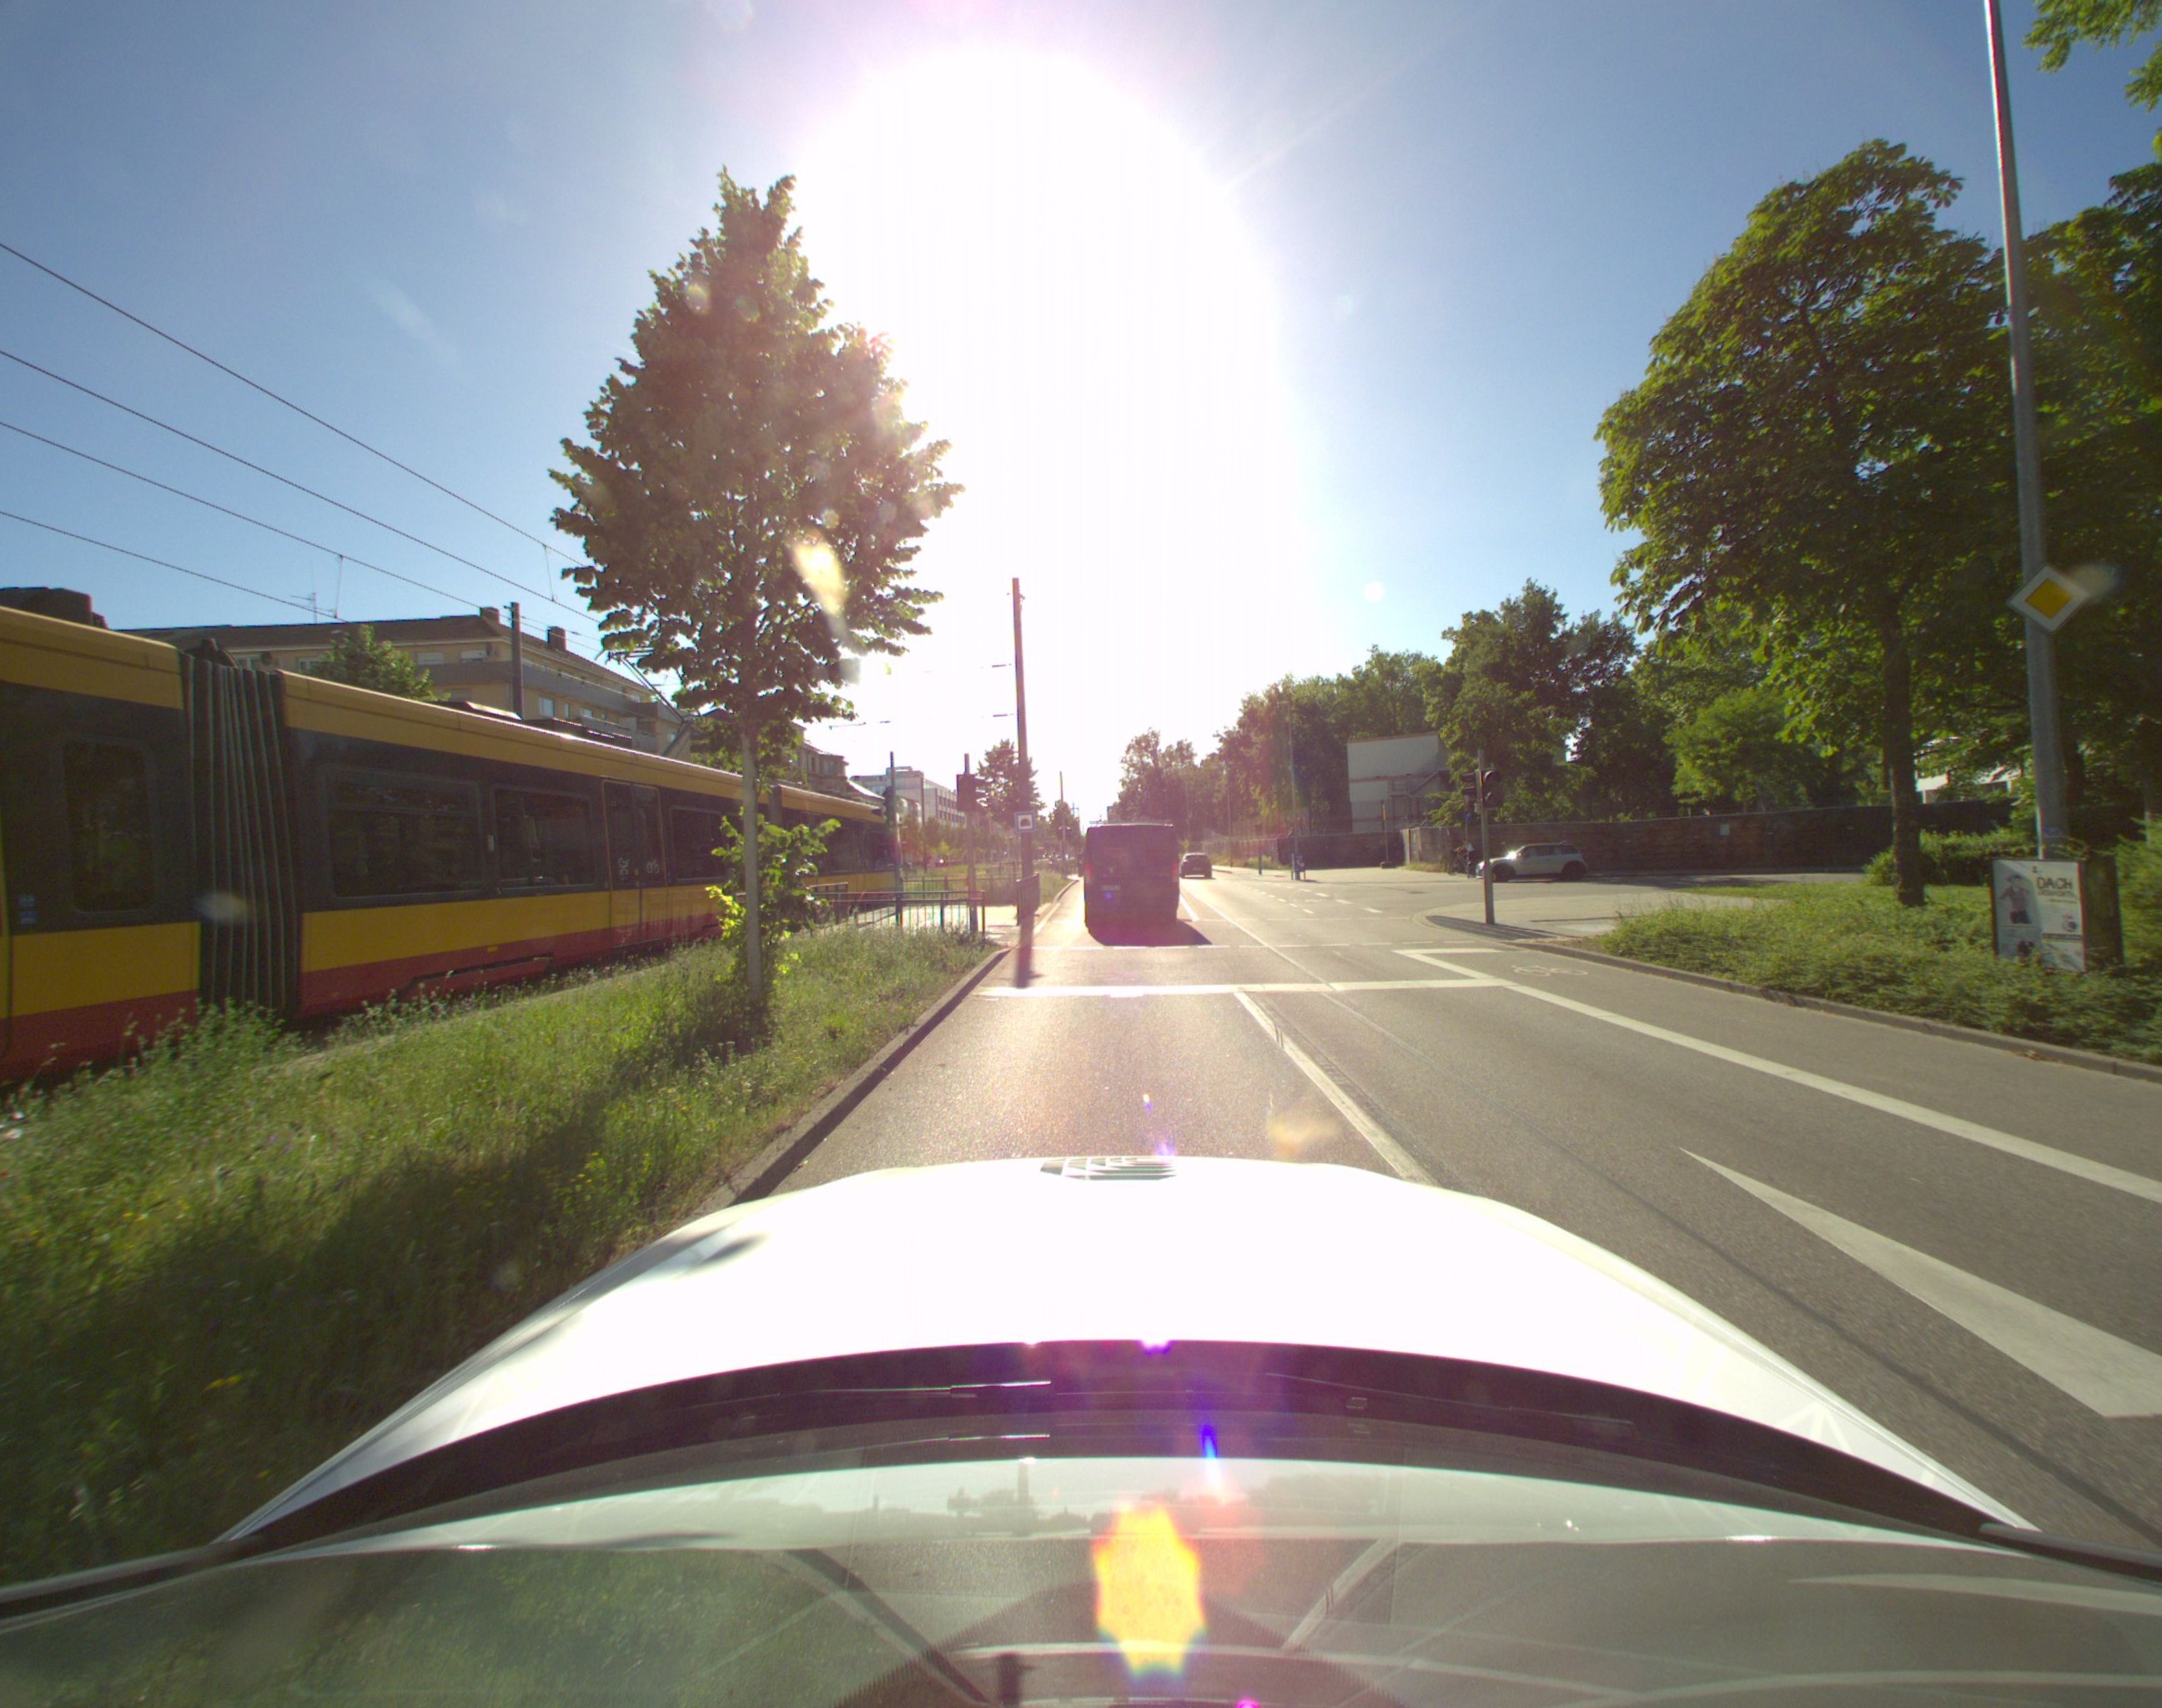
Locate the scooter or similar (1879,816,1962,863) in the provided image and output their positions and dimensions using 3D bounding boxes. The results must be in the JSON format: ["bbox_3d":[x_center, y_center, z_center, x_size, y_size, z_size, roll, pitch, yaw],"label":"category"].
[{"bbox_3d":[31.376,-0.538,30.480,2.051,1.684,0.579,-2,0,27],"label":"scooter or similar"}]

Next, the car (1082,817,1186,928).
[{"bbox_3d":[1.128,0.379,18.845,2.075,2.249,4.000,-1,0,1],"label":"car"}]

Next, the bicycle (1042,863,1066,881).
[{"bbox_3d":[-1.745,1.120,52.033,0.736,1.091,2.066,-1,0,-25],"label":"bicycle"}]

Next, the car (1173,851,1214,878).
[{"bbox_3d":[6.460,0.606,47.163,1.758,1.462,3.999,-1,0,-1],"label":"car"}]

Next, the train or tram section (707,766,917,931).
[{"bbox_3d":[-7.266,-0.117,24.248,1.986,3.669,11.687,-1,0,2],"label":"train or tram section"}]

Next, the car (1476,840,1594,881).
[{"bbox_3d":[17.351,0.255,31.294,3.670,1.436,1.781,-2,0,17],"label":"car"}]

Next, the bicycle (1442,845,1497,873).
[{"bbox_3d":[17.577,0.242,36.916,2.104,1.112,0.606,-4,0,10],"label":"bicycle"}]

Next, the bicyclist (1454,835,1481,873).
[{"bbox_3d":[17.506,0.007,36.906,0.844,1.673,0.746,-3,0,10],"label":"bicyclist"}]

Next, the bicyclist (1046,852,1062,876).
[{"bbox_3d":[-1.723,0.634,51.954,0.830,1.512,0.724,-1,0,-24],"label":"bicyclist"}]

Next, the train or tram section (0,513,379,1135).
[{"bbox_3d":[-7.414,-0.176,0.245,1.987,3.669,14.152,-1,0,1],"label":"train or tram section"}]

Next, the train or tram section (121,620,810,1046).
[{"bbox_3d":[-7.260,-0.171,12.766,1.986,3.669,11.318,-1,0,1],"label":"train or tram section"}]
